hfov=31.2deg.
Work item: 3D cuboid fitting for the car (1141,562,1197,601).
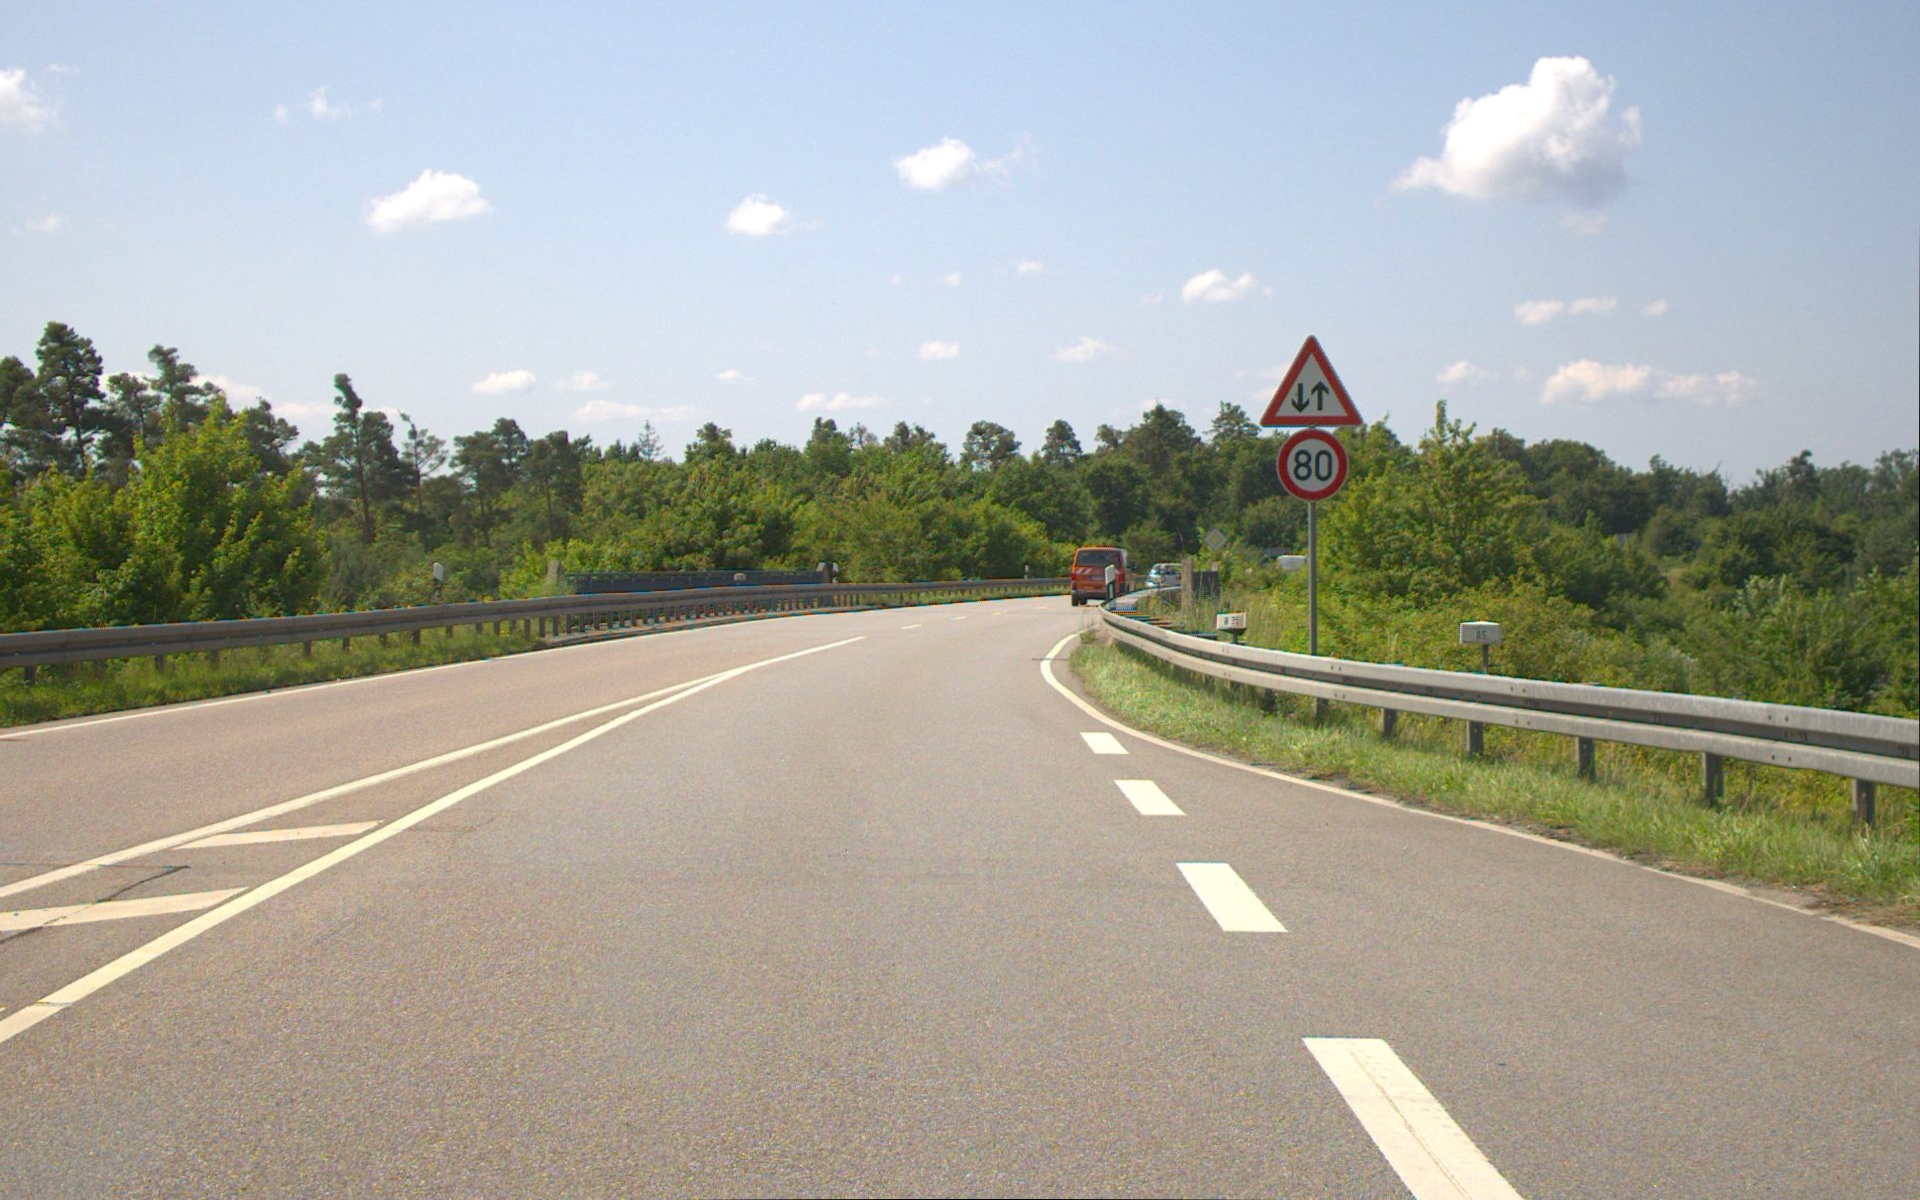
[{"bbox_3d":[8.315,-0.731,136.578,2.008,1.489,4.237,1,0,6],"label":"car"}]

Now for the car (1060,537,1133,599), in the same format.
[{"bbox_3d":[4.593,-1.057,115.036,2.078,1.986,5.110,1,0,6],"label":"car"}]

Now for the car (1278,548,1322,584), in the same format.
[{"bbox_3d":[19.204,-1.918,193.906,2.185,1.948,5.802,1,1,8],"label":"car"}]
